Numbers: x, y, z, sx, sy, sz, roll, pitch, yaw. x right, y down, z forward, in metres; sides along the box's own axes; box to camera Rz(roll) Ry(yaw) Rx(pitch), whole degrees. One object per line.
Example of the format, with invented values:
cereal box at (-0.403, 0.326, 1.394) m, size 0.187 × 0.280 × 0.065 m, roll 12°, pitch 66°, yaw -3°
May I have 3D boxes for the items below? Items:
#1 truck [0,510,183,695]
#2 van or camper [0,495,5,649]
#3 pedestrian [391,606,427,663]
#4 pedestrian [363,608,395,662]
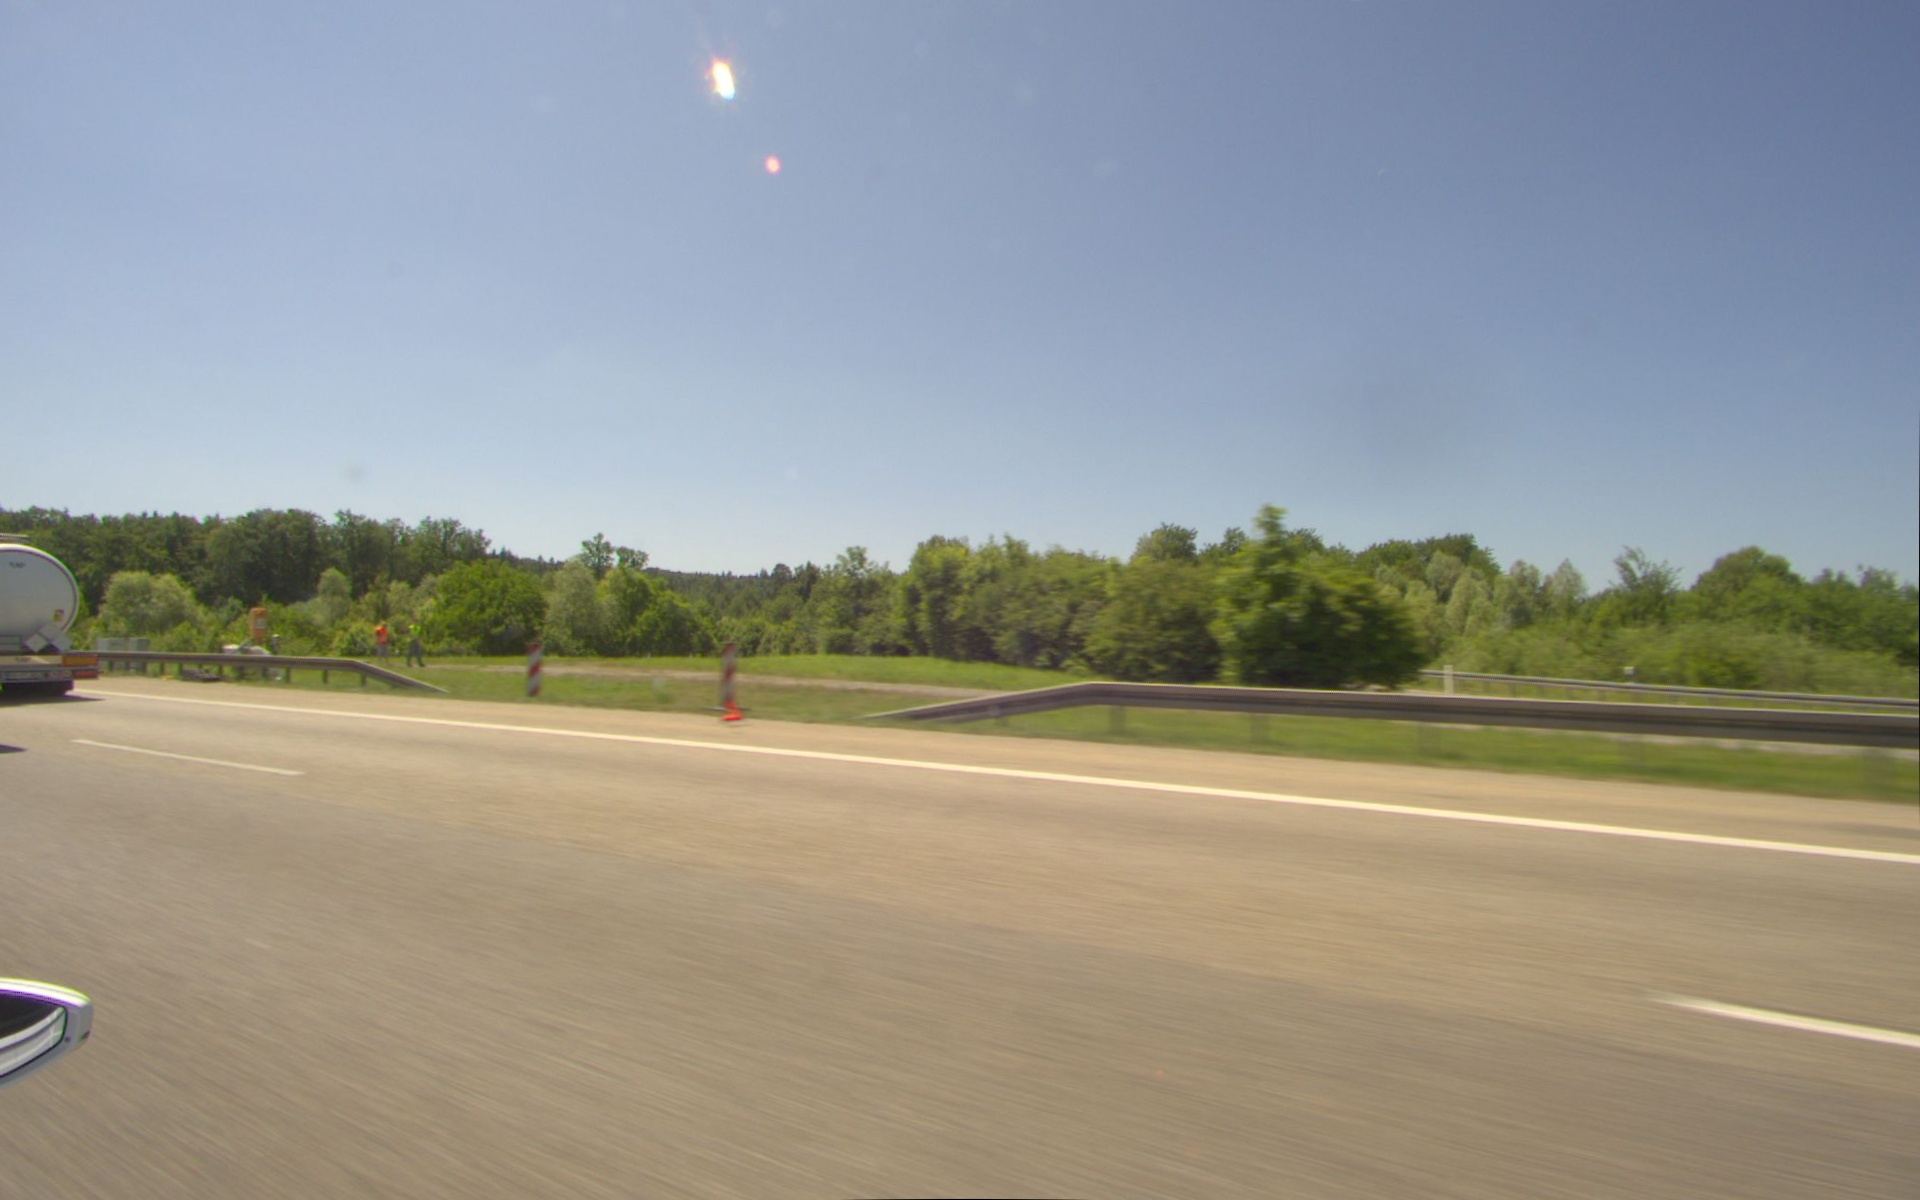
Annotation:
truck at (-21.427, 0.096, 23.020) m, size 8.404 × 3.620 × 2.923 m, roll 0°, pitch -2°, yaw 33°
van or camper at (-15.824, 0.191, 13.473) m, size 7.078 × 3.118 × 2.599 m, roll 0°, pitch -2°, yaw 32°
pedestrian at (-20.920, 1.326, 38.044) m, size 0.677 × 2.105 × 0.928 m, roll 1°, pitch -4°, yaw 11°
pedestrian at (-23.238, 1.414, 40.065) m, size 0.915 × 2.105 × 0.687 m, roll -1°, pitch -4°, yaw 33°
